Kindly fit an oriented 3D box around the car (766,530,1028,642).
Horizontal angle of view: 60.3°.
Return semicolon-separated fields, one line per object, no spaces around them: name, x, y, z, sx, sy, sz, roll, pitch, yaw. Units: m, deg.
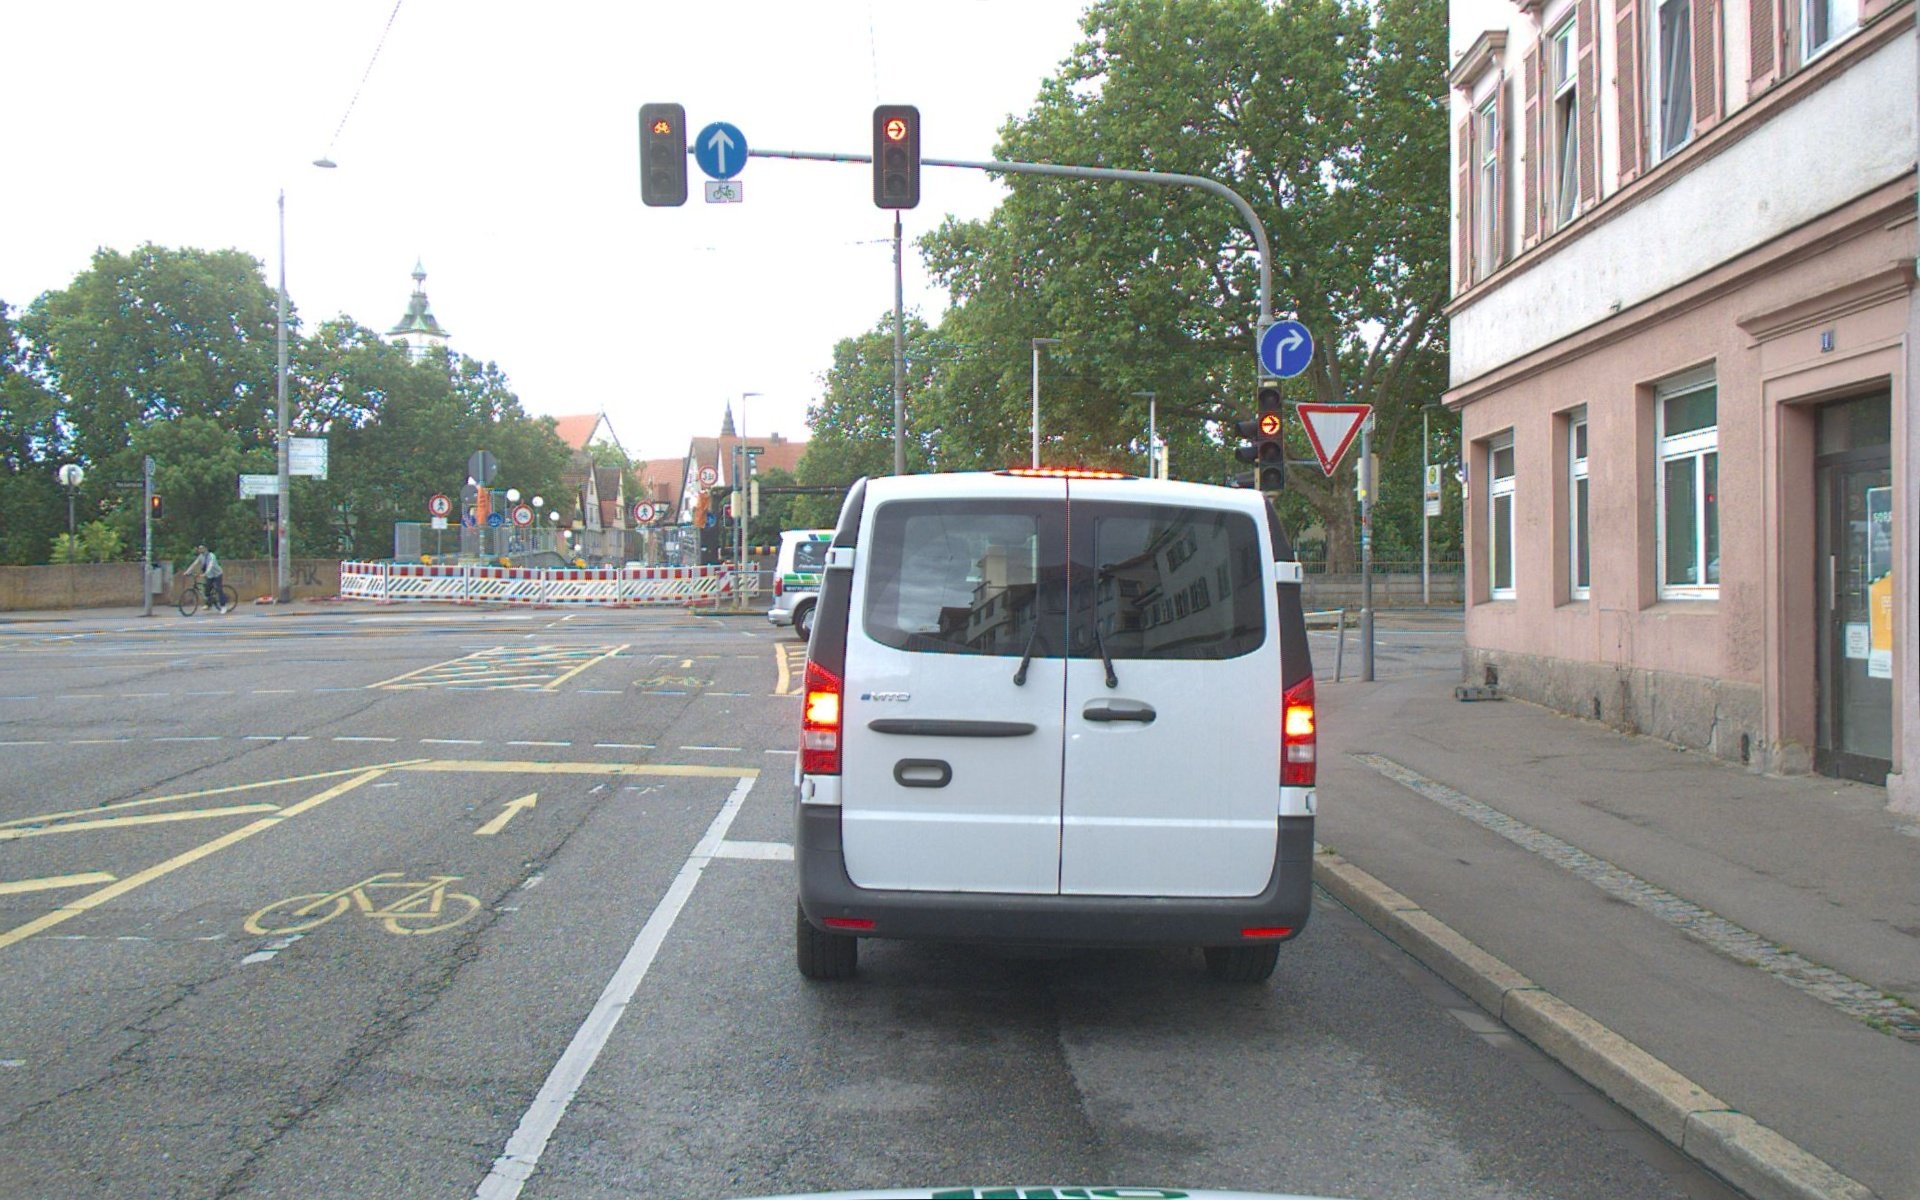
car;-1.025;-0.254;27.954;4.257;1.834;2.000;0;2;0

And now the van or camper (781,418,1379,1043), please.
van or camper;0.222;0.433;7.482;1.900;1.958;4.436;1;0;-5

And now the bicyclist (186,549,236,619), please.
bicyclist;-19.379;-0.420;42.787;0.996;1.774;0.743;-1;2;-42

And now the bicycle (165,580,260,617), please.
bicycle;-19.338;-0.049;42.834;2.122;0.907;0.748;-2;2;-44
